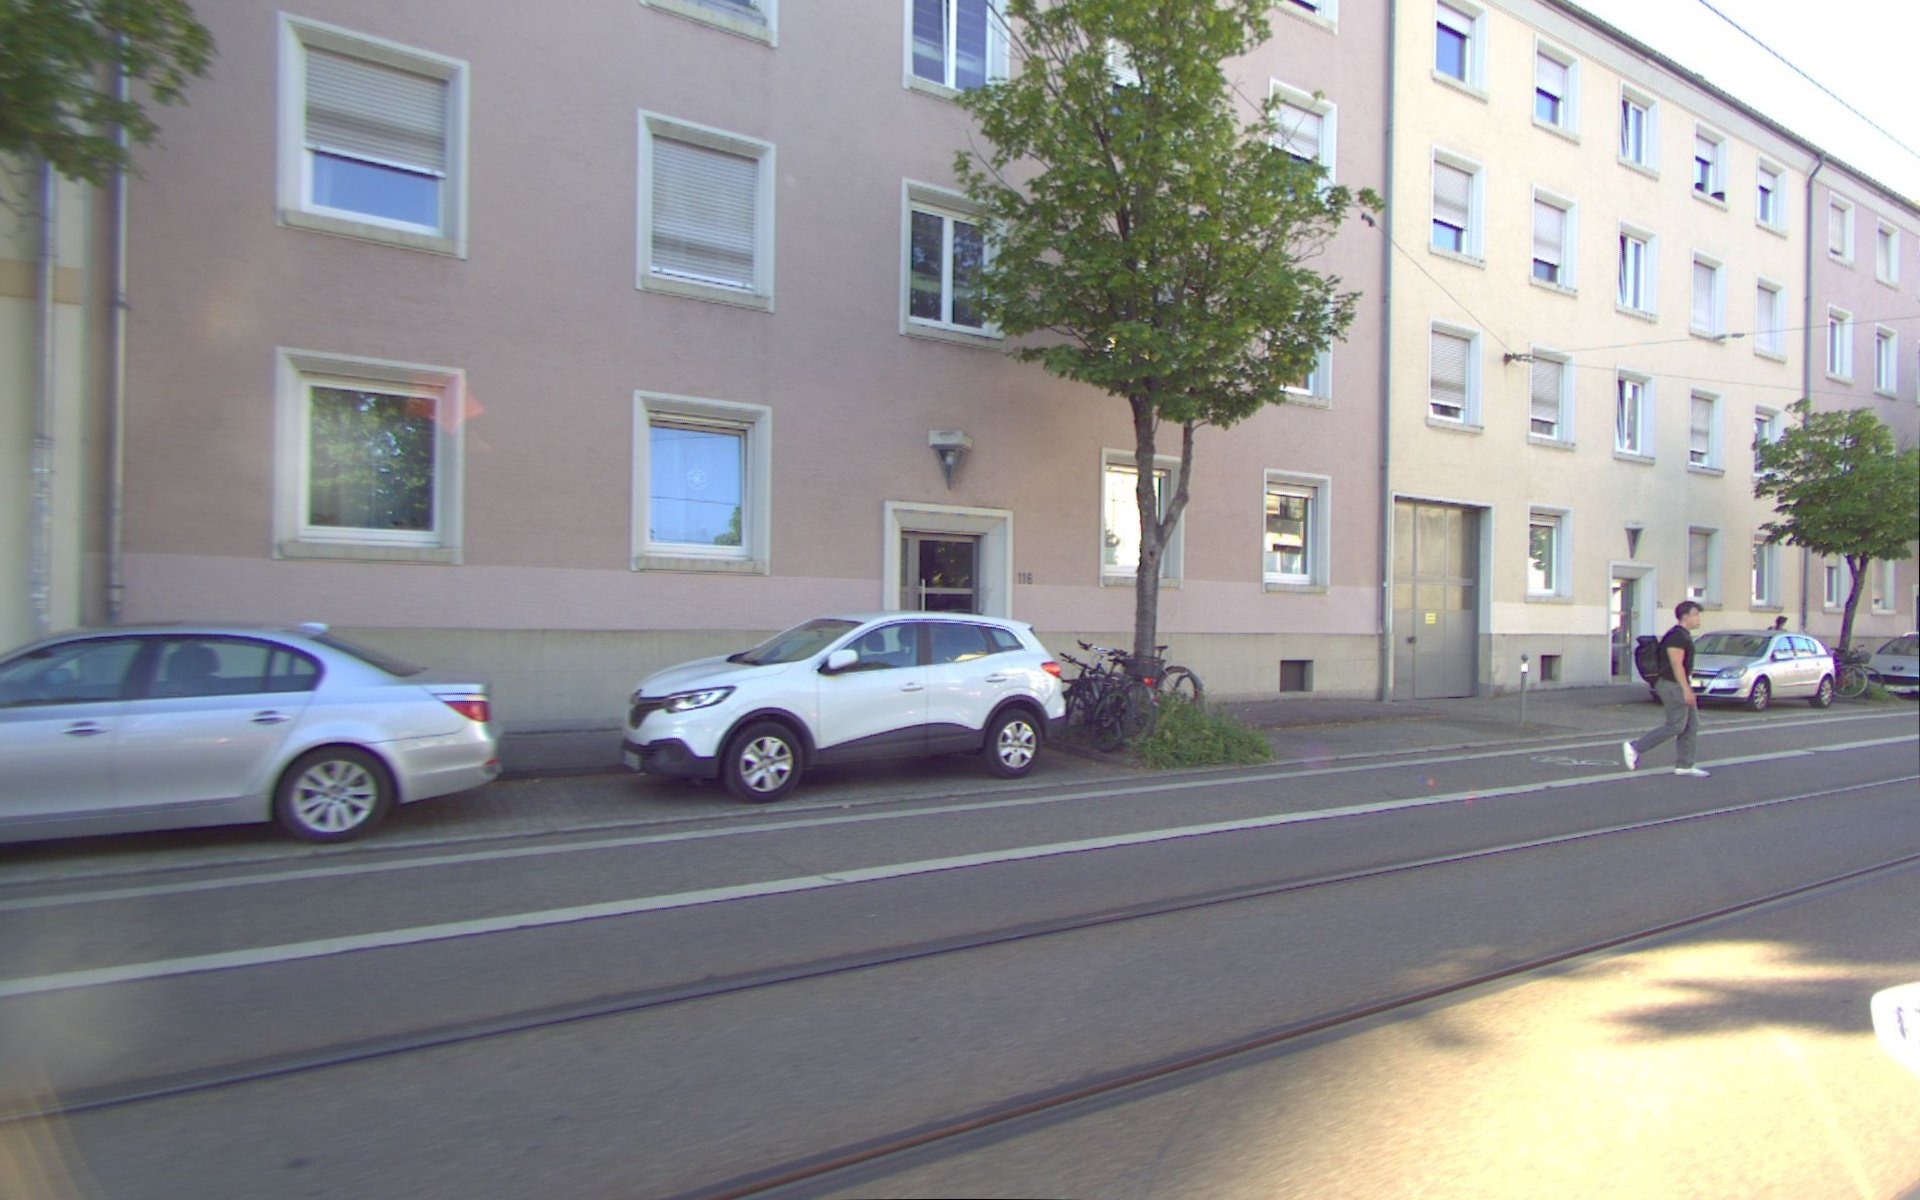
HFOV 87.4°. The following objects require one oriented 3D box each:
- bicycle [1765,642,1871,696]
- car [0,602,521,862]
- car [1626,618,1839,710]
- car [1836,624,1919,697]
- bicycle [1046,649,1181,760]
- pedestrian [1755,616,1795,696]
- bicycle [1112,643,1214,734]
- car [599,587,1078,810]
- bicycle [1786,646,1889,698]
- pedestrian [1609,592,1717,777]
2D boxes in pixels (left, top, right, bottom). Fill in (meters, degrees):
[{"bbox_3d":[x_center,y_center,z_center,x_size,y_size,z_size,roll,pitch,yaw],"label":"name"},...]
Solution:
[{"bbox_3d":[18.381,1.460,21.550,0.470,1.015,1.660,1,1,-26],"label":"bicycle"},{"bbox_3d":[-5.611,0.799,6.926,4.603,1.495,1.681,1,1,-29],"label":"car"},{"bbox_3d":[14.791,1.167,19.196,4.142,1.528,1.800,1,1,-30],"label":"car"},{"bbox_3d":[22.456,1.371,23.322,4.626,1.528,1.800,1,1,-30],"label":"car"},{"bbox_3d":[1.722,1.157,11.614,0.470,1.060,1.916,1,1,-28],"label":"bicycle"},{"bbox_3d":[19.275,1.316,23.769,0.536,1.850,0.533,1,1,-30],"label":"pedestrian"},{"bbox_3d":[2.653,1.128,13.061,1.423,1.116,0.327,1,1,-31],"label":"bicycle"},{"bbox_3d":[-1.035,0.793,9.584,4.252,1.690,1.641,1,1,-34],"label":"car"},{"bbox_3d":[19.321,1.565,22.146,0.473,1.015,1.652,1,1,-40],"label":"bicycle"},{"bbox_3d":[7.252,0.835,10.366,0.839,1.800,0.732,-1,-1,40],"label":"pedestrian"}]
